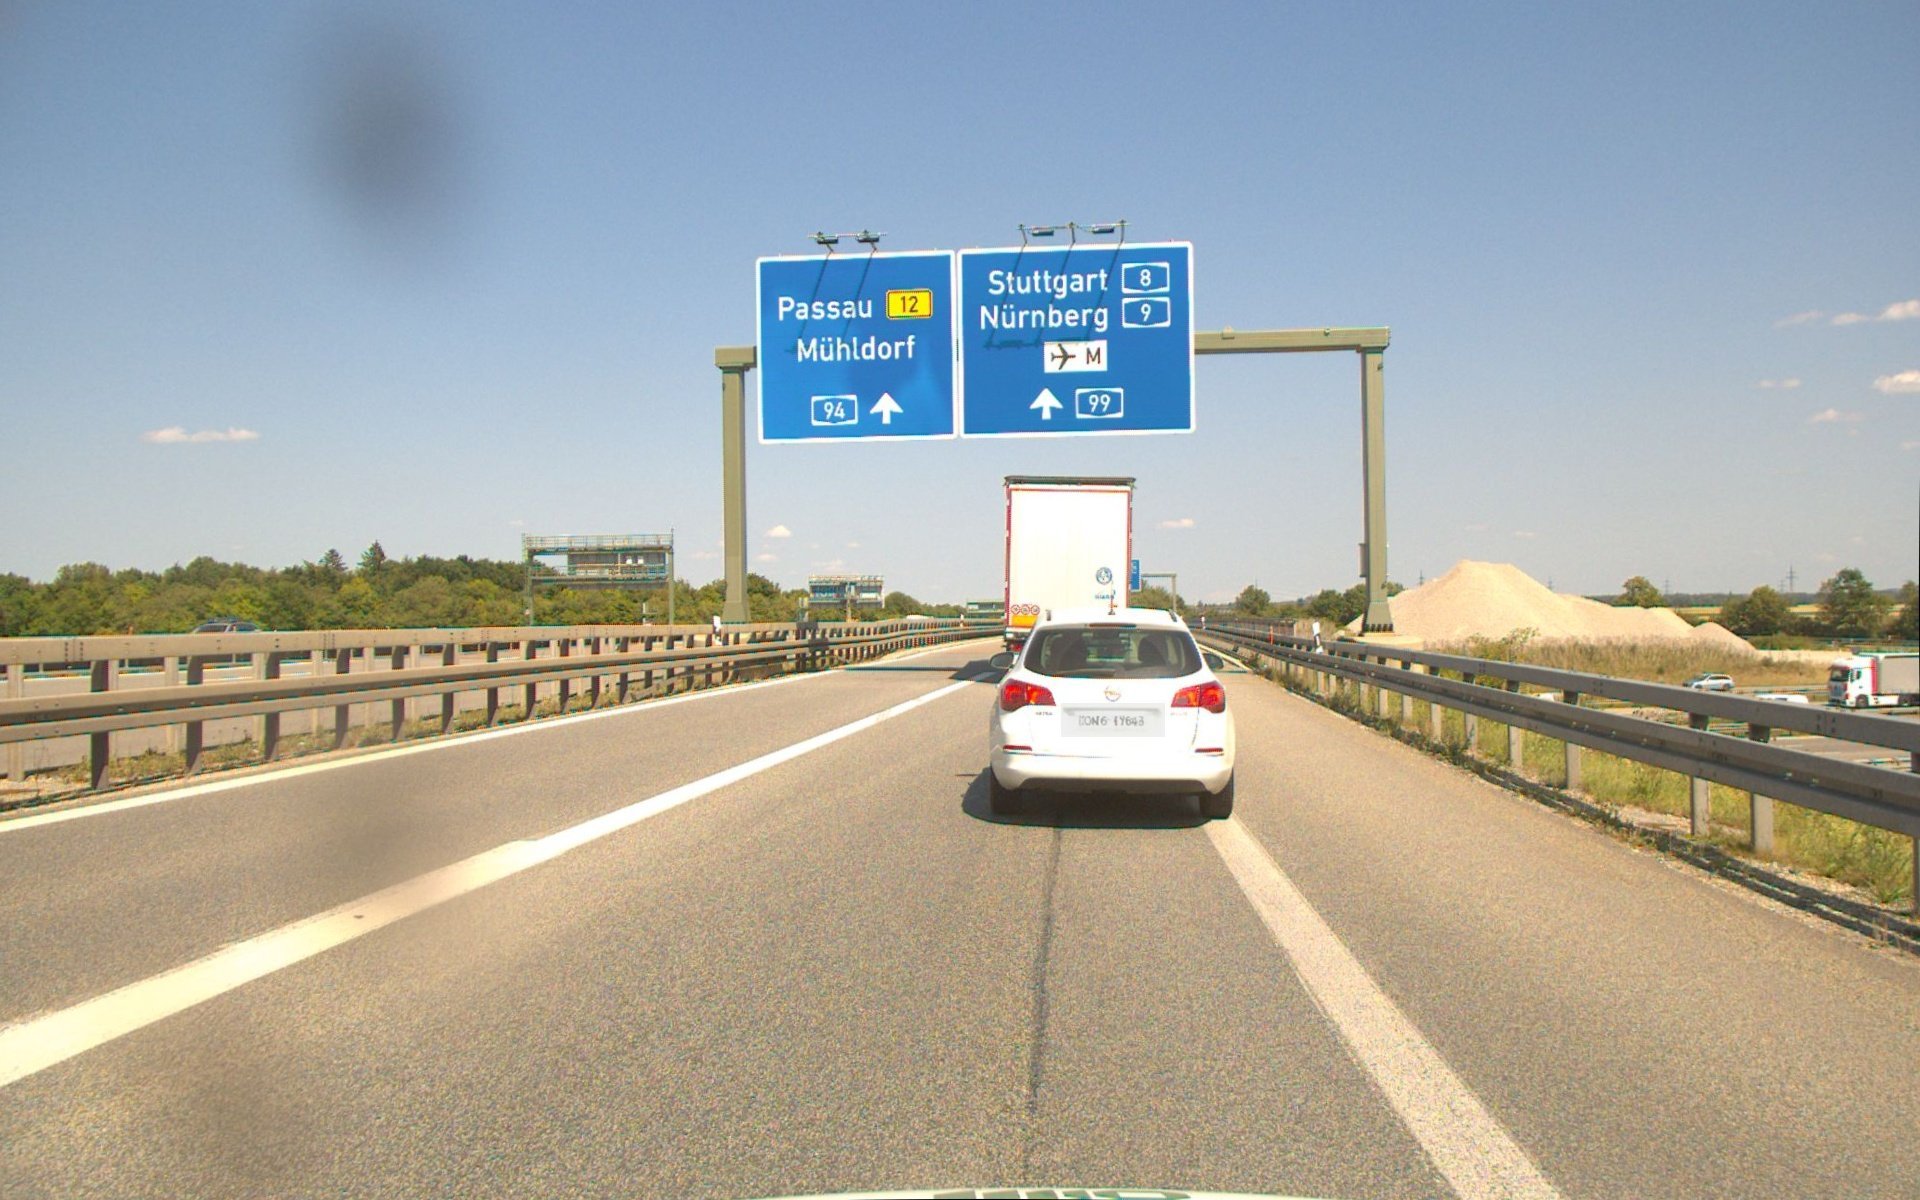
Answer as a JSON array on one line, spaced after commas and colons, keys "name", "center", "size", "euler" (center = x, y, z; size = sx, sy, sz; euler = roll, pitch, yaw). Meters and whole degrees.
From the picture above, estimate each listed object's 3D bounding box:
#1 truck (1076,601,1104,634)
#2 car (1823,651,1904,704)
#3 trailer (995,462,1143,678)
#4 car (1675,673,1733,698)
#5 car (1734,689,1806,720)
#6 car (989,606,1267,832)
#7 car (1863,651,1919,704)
[{"name": "truck", "center": [17.739, 2.477, 225.346], "size": [3.464, 4.218, 11.263], "euler": [3, -1, 5]}, {"name": "car", "center": [70.942, 6.078, 129.910], "size": [5.041, 4.034, 2.481], "euler": [1, -1, -4]}, {"name": "trailer", "center": [2.535, -0.444, 38.089], "size": [2.851, 4.218, 11.261], "euler": [1, -2, 4]}, {"name": "car", "center": [67.170, 7.700, 149.340], "size": [4.308, 2.049, 1.998], "euler": [1, -1, -4]}, {"name": "car", "center": [59.079, 7.610, 120.616], "size": [4.308, 2.049, 1.998], "euler": [1, -1, -4]}, {"name": "car", "center": [1.255, 0.814, 13.121], "size": [1.815, 1.468, 4.373], "euler": [1, -1, 4]}, {"name": "car", "center": [78.035, 6.202, 130.460], "size": [12.714, 4.034, 2.480], "euler": [1, -1, -4]}]
